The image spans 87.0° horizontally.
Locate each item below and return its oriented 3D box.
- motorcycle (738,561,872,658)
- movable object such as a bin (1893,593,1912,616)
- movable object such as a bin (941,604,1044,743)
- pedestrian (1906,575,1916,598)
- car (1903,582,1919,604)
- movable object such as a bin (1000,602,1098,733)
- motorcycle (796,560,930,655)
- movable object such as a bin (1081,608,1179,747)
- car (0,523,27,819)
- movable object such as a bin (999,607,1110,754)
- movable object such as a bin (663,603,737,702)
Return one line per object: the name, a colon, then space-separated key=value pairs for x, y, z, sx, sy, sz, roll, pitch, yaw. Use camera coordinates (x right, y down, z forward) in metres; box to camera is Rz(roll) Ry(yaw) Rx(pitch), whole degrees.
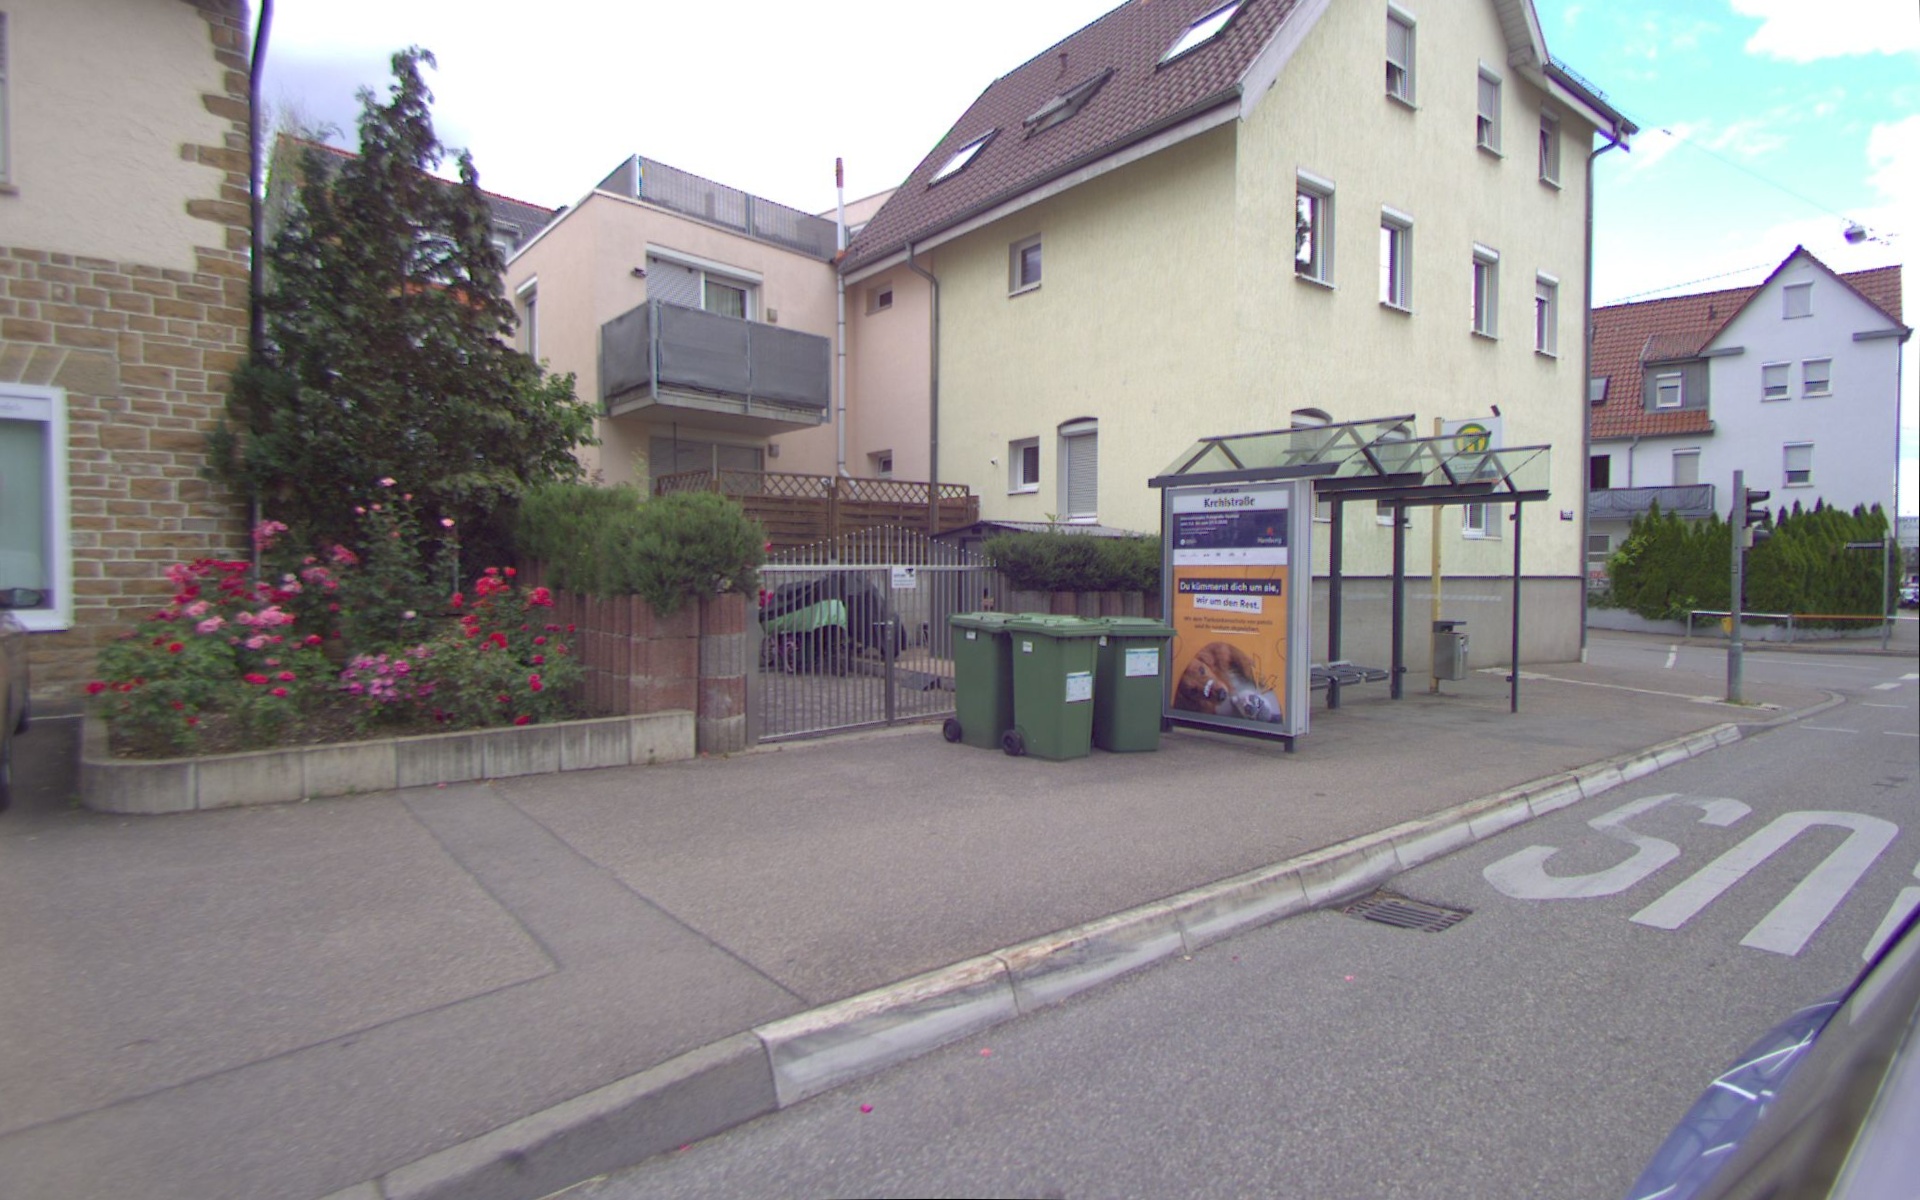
motorcycle: x=-2.051 y=0.081 z=13.165 sx=1.952 sy=1.153 sz=0.686 roll=3 pitch=2 yaw=45
movable object such as a bin: x=39.531 y=0.179 z=42.450 sx=0.564 sy=0.914 sz=0.511 roll=3 pitch=3 yaw=43
movable object such as a bin: x=0.269 y=0.579 z=8.387 sx=0.576 sy=1.059 sz=0.636 roll=-1 pitch=2 yaw=-45
pedestrian: x=74.950 y=-1.085 z=79.743 sx=0.496 sy=1.775 sz=0.444 roll=2 pitch=2 yaw=44
car: x=72.598 y=-0.552 z=76.414 sx=1.839 sy=1.538 sz=3.942 roll=0 pitch=1 yaw=40
movable object such as a bin: x=0.774 y=0.563 z=8.830 sx=0.576 sy=1.059 sz=0.636 roll=-1 pitch=2 yaw=-45
motorcycle: x=-1.332 y=0.064 z=13.527 sx=1.952 sy=1.153 sz=0.686 roll=3 pitch=2 yaw=45
movable object such as a bin: x=1.376 y=0.606 z=8.240 sx=0.579 sy=1.059 sz=0.639 roll=-1 pitch=1 yaw=-12
car: x=-6.516 y=0.265 z=5.800 sx=1.613 sy=1.418 sz=3.810 roll=-2 pitch=5 yaw=-42
movable object such as a bin: x=0.731 y=0.594 z=7.858 sx=0.576 sy=1.059 sz=0.636 roll=-1 pitch=1 yaw=-45
movable object such as a bin: x=-2.690 y=0.524 z=10.449 sx=0.545 sy=0.949 sz=0.585 roll=-1 pitch=2 yaw=-40
